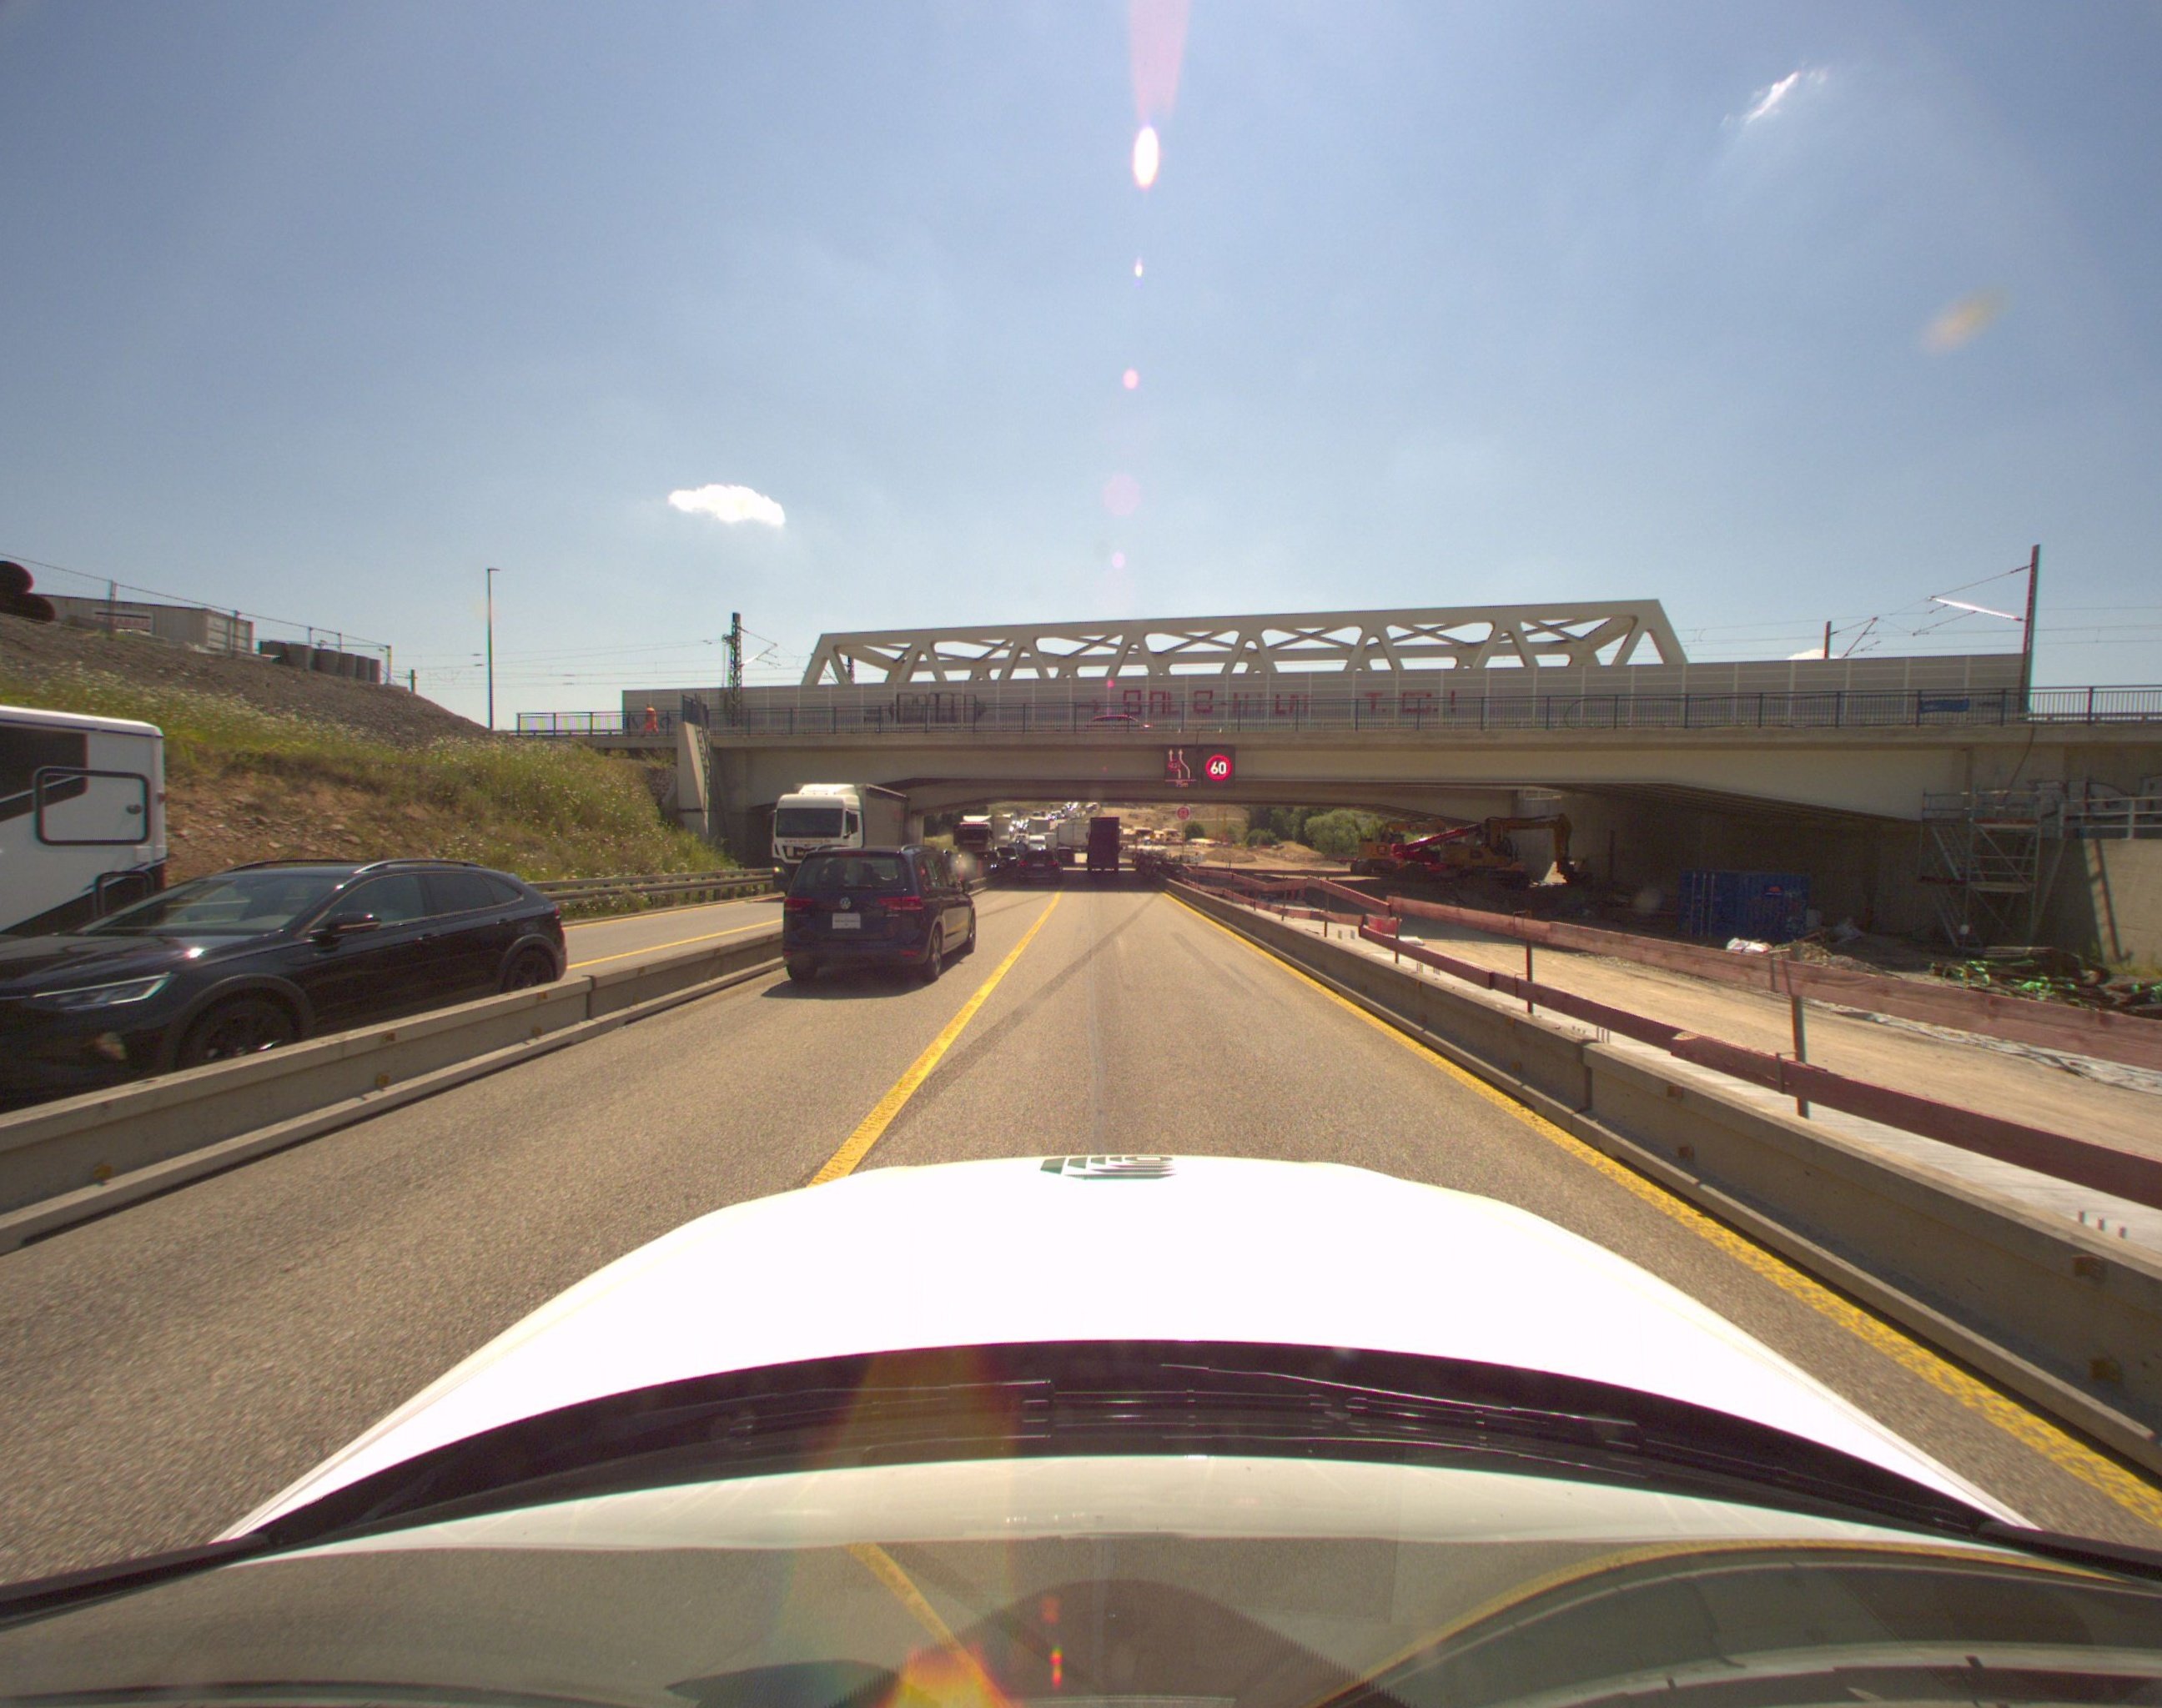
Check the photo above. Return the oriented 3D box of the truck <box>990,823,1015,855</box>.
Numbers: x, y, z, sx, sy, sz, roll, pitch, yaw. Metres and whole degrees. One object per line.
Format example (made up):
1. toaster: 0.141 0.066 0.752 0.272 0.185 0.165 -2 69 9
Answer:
1. truck: -10.354 -1.993 106.918 2.872 4.050 4.871 1 1 -9

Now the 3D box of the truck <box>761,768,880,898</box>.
1. truck: -8.798 -0.656 27.988 2.789 4.150 4.072 0 -1 -1

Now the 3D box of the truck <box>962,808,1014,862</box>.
1. truck: -8.043 -1.460 72.103 2.759 4.313 13.492 0 -1 1

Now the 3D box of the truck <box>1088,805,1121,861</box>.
1. truck: 2.158 -2.018 75.035 2.934 4.944 6.745 0 3 1

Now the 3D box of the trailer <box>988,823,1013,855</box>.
1. trailer: -11.376 -2.153 114.265 2.875 4.039 14.320 1 1 -8

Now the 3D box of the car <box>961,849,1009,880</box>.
1. car: -4.982 0.541 42.763 1.849 1.527 4.774 0 -1 1

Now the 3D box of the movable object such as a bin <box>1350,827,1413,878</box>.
1. movable object such as a bin: 21.801 -0.091 59.264 3.855 3.542 2.912 1 -1 12

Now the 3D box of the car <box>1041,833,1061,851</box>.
1. car: -4.287 -1.670 114.605 2.263 2.354 5.147 0 3 -8

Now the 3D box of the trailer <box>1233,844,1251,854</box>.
1. trailer: 23.568 -0.725 119.251 1.619 1.486 3.823 1 1 -2

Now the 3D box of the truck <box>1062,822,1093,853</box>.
1. truck: -0.500 -2.263 111.138 3.182 3.988 6.721 0 3 -10

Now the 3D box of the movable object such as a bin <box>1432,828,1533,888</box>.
1. movable object such as a bin: 23.495 0.252 47.885 4.532 3.287 2.994 2 -1 5

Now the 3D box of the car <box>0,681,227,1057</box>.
1. car: -9.292 0.092 4.413 2.267 2.821 6.560 0 -1 1

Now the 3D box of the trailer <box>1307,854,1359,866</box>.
1. trailer: 25.666 0.583 82.957 4.697 1.219 2.056 0 -1 1

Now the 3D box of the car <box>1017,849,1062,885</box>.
1. car: -1.890 0.577 38.226 1.827 1.635 4.390 0 0 1

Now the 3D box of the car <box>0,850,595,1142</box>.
1. car: -6.003 0.738 6.399 1.747 1.517 4.188 0 1 2

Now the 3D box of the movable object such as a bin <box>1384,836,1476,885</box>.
1. movable object such as a bin: 23.544 0.432 55.150 5.214 3.056 2.500 2 -1 5

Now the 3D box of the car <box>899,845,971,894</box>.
1. car: -5.529 0.528 31.431 1.849 1.756 4.610 0 0 1

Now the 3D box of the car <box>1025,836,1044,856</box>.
1. car: -5.579 -0.978 97.198 1.978 2.330 6.045 0 0 -6

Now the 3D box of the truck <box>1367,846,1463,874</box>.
1. truck: 26.231 0.447 64.251 6.492 2.073 2.669 1 1 4

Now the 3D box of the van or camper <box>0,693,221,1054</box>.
1. van or camper: -9.244 0.142 4.399 2.115 2.705 6.460 0 0 3

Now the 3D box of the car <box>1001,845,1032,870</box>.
1. car: -4.532 0.234 58.006 1.716 1.609 4.525 1 1 1

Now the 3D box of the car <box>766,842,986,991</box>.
1. car: -2.525 0.690 11.195 1.727 1.635 4.392 0 0 2

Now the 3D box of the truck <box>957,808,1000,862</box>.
1. truck: -8.176 -1.420 65.614 2.649 4.171 5.188 0 -1 2

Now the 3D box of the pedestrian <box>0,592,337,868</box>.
1. pedestrian: -8.839 -0.896 6.518 1.986 2.014 4.001 0 -1 2

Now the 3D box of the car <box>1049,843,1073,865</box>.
1. car: -1.650 0.033 68.593 1.827 1.777 4.391 0 0 2

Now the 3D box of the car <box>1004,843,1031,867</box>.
1. car: -5.121 0.060 66.019 1.794 1.932 4.967 0 0 0

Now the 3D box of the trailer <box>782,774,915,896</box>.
1. trailer: -8.781 -0.611 31.928 2.803 4.174 8.242 0 -1 0

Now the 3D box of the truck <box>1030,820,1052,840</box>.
1. truck: -7.310 -4.276 148.575 3.217 3.360 8.915 0 -1 -8

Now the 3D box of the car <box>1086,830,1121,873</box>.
1. car: 1.452 -0.097 51.998 2.142 2.611 5.441 0 -1 2
